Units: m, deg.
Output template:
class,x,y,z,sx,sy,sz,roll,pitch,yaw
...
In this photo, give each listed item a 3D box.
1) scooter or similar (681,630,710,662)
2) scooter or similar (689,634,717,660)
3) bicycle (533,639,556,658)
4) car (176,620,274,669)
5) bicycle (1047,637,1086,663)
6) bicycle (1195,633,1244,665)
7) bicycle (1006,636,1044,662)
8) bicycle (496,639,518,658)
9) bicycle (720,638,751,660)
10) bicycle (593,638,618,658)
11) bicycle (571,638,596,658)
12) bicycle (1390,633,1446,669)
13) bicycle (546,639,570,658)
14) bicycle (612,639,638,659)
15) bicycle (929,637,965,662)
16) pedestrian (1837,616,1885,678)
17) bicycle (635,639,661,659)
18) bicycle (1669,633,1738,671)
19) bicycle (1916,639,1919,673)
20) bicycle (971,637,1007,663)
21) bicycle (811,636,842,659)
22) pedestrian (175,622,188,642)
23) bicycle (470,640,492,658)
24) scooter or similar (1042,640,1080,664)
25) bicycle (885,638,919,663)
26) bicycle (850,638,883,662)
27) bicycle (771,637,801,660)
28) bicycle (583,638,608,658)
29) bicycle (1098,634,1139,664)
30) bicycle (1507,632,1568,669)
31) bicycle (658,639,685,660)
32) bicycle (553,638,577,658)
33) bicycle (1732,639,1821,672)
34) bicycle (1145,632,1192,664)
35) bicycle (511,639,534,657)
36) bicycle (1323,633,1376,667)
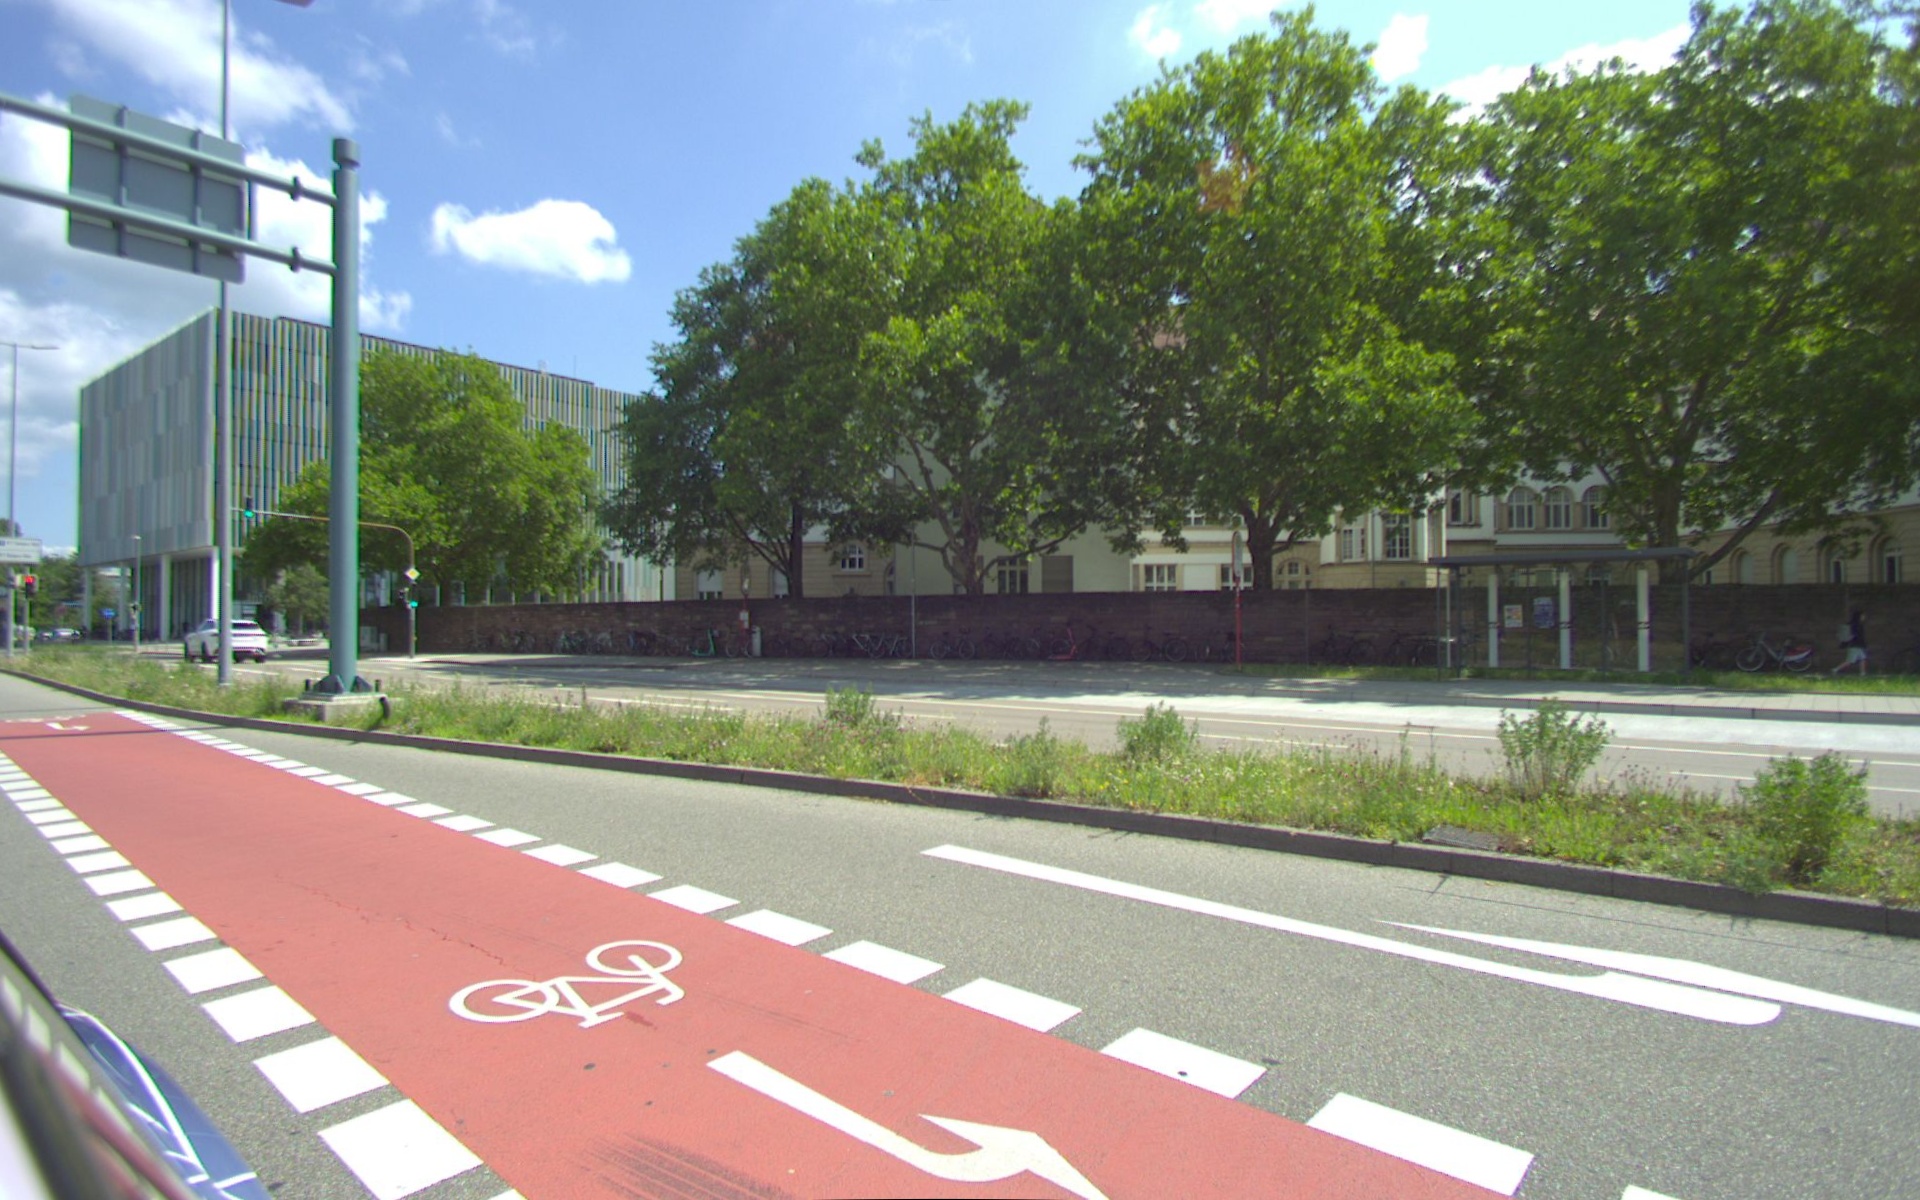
class,x,y,z,sx,sy,sz,roll,pitch,yaw
scooter or similar,-10.195,1.763,38.986,1.230,1.199,0.262,-1,-2,29
scooter or similar,-10.146,1.862,39.919,1.133,1.028,0.264,-1,-2,19
bicycle,-18.597,2.165,45.309,1.230,0.837,0.262,-1,-2,29
car,-27.948,1.660,38.416,4.508,1.724,1.973,-2,-2,40
bicycle,3.407,1.595,32.458,1.230,0.837,0.262,-1,-2,28
bicycle,7.805,1.471,30.417,1.389,0.972,0.262,-1,-2,28
bicycle,2.131,1.612,33.070,1.230,0.837,0.262,-1,-2,28
bicycle,-21.037,2.248,46.998,1.231,0.837,0.262,-2,-2,30
bicycle,-8.648,1.888,38.950,1.226,0.837,0.263,-1,-2,19
bicycle,-15.026,2.020,42.903,1.231,0.837,0.262,-2,-2,30
bicycle,-16.269,2.084,43.725,1.231,0.837,0.262,-2,-2,30
bicycle,12.862,1.431,28.419,1.384,0.972,0.263,-1,-2,18
bicycle,-17.468,2.109,43.993,1.230,0.837,0.262,-1,-2,29
bicycle,-13.957,2.029,42.181,1.231,0.837,0.262,-2,-2,30
bicycle,-0.433,1.674,34.278,1.230,0.837,0.262,-1,-2,28
pedestrian,21.050,1.096,23.655,0.726,1.405,0.712,-2,-2,36
bicycle,-12.818,2.012,41.534,1.231,0.837,0.262,-2,-2,30
bicycle,19.231,1.347,26.196,1.384,0.972,0.263,-1,-2,18
bicycle,24.439,1.358,24.604,1.734,0.823,0.382,-1,-2,18
bicycle,0.959,1.657,33.719,1.230,0.837,0.262,-1,-2,28
bicycle,-4.874,1.723,36.890,1.231,0.837,0.262,-1,-2,30
pedestrian,-76.934,3.162,100.016,0.994,2.029,0.853,-2,-2,40
bicycle,-22.693,2.306,47.957,1.231,0.837,0.262,-2,-2,30
scooter or similar,3.176,1.630,31.808,1.133,0.734,0.264,-1,-2,18
bicycle,-2.017,1.753,35.117,1.231,0.837,0.262,-1,-2,30
bicycle,-3.321,1.755,35.915,1.231,0.837,0.262,-1,-2,30
bicycle,-6.472,1.812,37.566,1.231,0.837,0.262,-1,-2,30
bicycle,-15.333,2.006,42.556,1.230,0.837,0.262,-1,-2,29
bicycle,4.944,1.524,31.597,1.230,0.915,0.262,-1,-2,28
bicycle,15.629,1.370,27.389,1.384,0.972,0.263,-1,-2,18
bicycle,-11.552,1.968,40.536,1.231,0.837,0.262,-2,-2,30
bicycle,-17.408,2.113,44.559,1.230,0.837,0.262,-1,-2,29
bicycle,20.743,1.406,25.722,1.734,0.823,0.327,-1,-2,18
bicycle,6.398,1.478,31.037,1.385,0.972,0.263,-1,-2,20
bicycle,-19.974,2.189,46.197,1.230,0.837,0.262,-1,-2,29
bicycle,11.177,1.428,29.033,1.384,0.972,0.263,-1,-2,18
